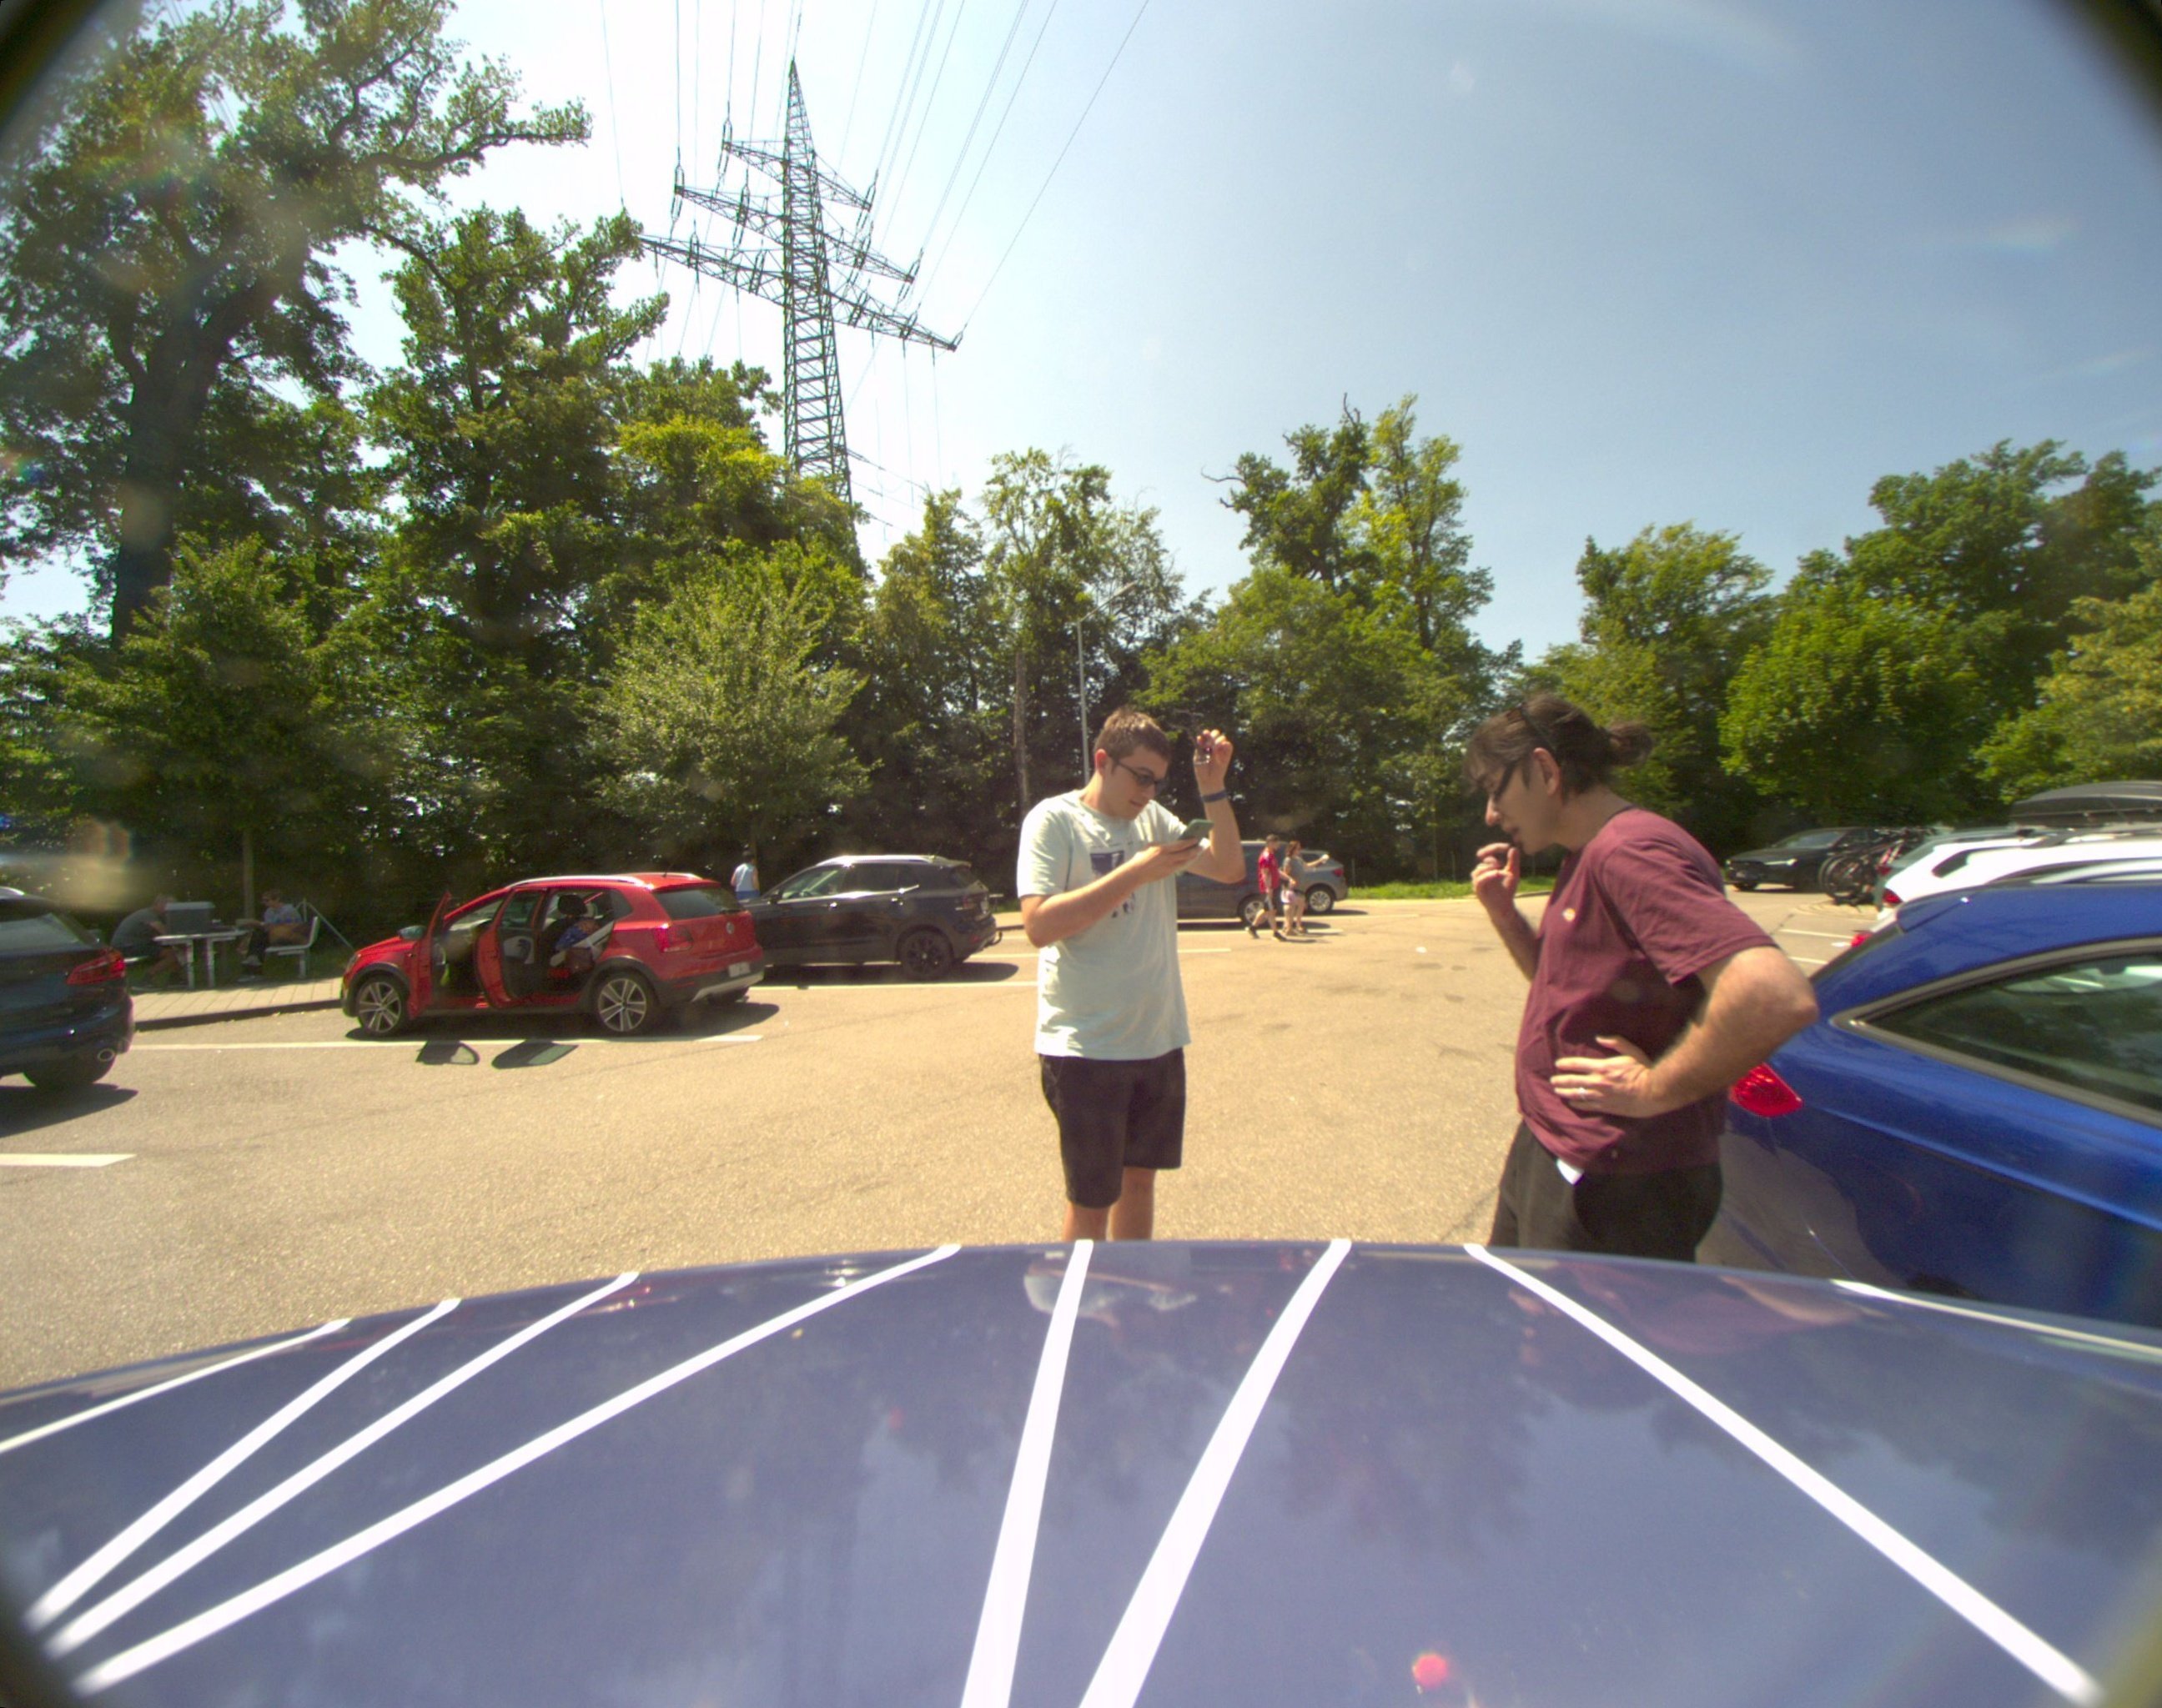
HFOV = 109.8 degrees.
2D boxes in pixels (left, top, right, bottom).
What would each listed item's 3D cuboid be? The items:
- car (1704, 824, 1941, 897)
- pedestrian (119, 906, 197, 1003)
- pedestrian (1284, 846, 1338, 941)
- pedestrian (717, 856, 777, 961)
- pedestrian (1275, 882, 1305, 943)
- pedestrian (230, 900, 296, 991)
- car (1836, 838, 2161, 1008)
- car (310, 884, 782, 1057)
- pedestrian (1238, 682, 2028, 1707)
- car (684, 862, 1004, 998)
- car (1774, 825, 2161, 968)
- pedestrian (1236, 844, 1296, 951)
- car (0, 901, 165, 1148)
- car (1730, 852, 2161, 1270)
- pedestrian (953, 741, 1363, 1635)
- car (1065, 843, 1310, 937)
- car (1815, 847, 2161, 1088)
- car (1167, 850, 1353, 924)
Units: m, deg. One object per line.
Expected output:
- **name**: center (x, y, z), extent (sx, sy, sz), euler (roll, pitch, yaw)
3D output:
- **car**: center (19.693, 0.158, 20.302), extent (4.616, 1.703, 1.999), euler (-2, 1, -5)
- **pedestrian**: center (-12.640, 1.350, 10.426), extent (0.695, 1.228, 0.588), euler (-3, 0, 43)
- **pedestrian**: center (4.148, 0.692, 13.684), extent (0.832, 1.653, 0.677), euler (-2, 0, 21)
- **pedestrian**: center (-6.028, 0.971, 13.732), extent (0.765, 1.821, 0.520), euler (-2, 1, 2)
- **pedestrian**: center (3.661, 1.018, 13.322), extent (0.433, 1.038, 0.440), euler (-2, 0, 21)
- **pedestrian**: center (-11.959, 1.316, 11.115), extent (0.695, 1.228, 0.588), euler (-3, 0, 43)
- **car**: center (10.100, 0.572, 6.890), extent (1.777, 1.418, 4.493), euler (-3, -1, -5)
- **car**: center (-5.198, 1.098, 7.626), extent (3.730, 1.440, 1.591), euler (-2, 0, 7)
- **pedestrian**: center (0.916, 0.751, 1.293), extent (0.863, 1.823, 0.862), euler (-3, 1, -39)
- **car**: center (-3.041, 0.955, 10.303), extent (3.732, 1.578, 1.739), euler (-2, 0, 2)
- **car**: center (12.531, 0.478, 10.362), extent (1.777, 1.541, 4.493), euler (-3, -1, -5)
- **pedestrian**: center (3.098, 0.704, 12.672), extent (0.832, 1.722, 0.677), euler (-2, 0, 21)
- **car**: center (-8.892, 1.171, 4.980), extent (3.934, 1.534, 1.812), euler (-2, 0, 7)
- **car**: center (4.865, 0.744, 2.344), extent (1.776, 1.491, 4.495), euler (-3, -1, -1)
- **pedestrian**: center (0.157, 0.713, 2.075), extent (0.862, 1.940, 0.687), euler (-3, 1, -15)
- **car**: center (2.130, 0.717, 15.461), extent (4.619, 1.701, 1.740), euler (-2, 0, 9)
- **car**: center (7.468, 0.676, 4.503), extent (1.776, 1.418, 4.495), euler (-3, -1, -1)
- **car**: center (4.133, 0.747, 18.000), extent (3.996, 1.495, 1.687), euler (-2, 1, 3)
